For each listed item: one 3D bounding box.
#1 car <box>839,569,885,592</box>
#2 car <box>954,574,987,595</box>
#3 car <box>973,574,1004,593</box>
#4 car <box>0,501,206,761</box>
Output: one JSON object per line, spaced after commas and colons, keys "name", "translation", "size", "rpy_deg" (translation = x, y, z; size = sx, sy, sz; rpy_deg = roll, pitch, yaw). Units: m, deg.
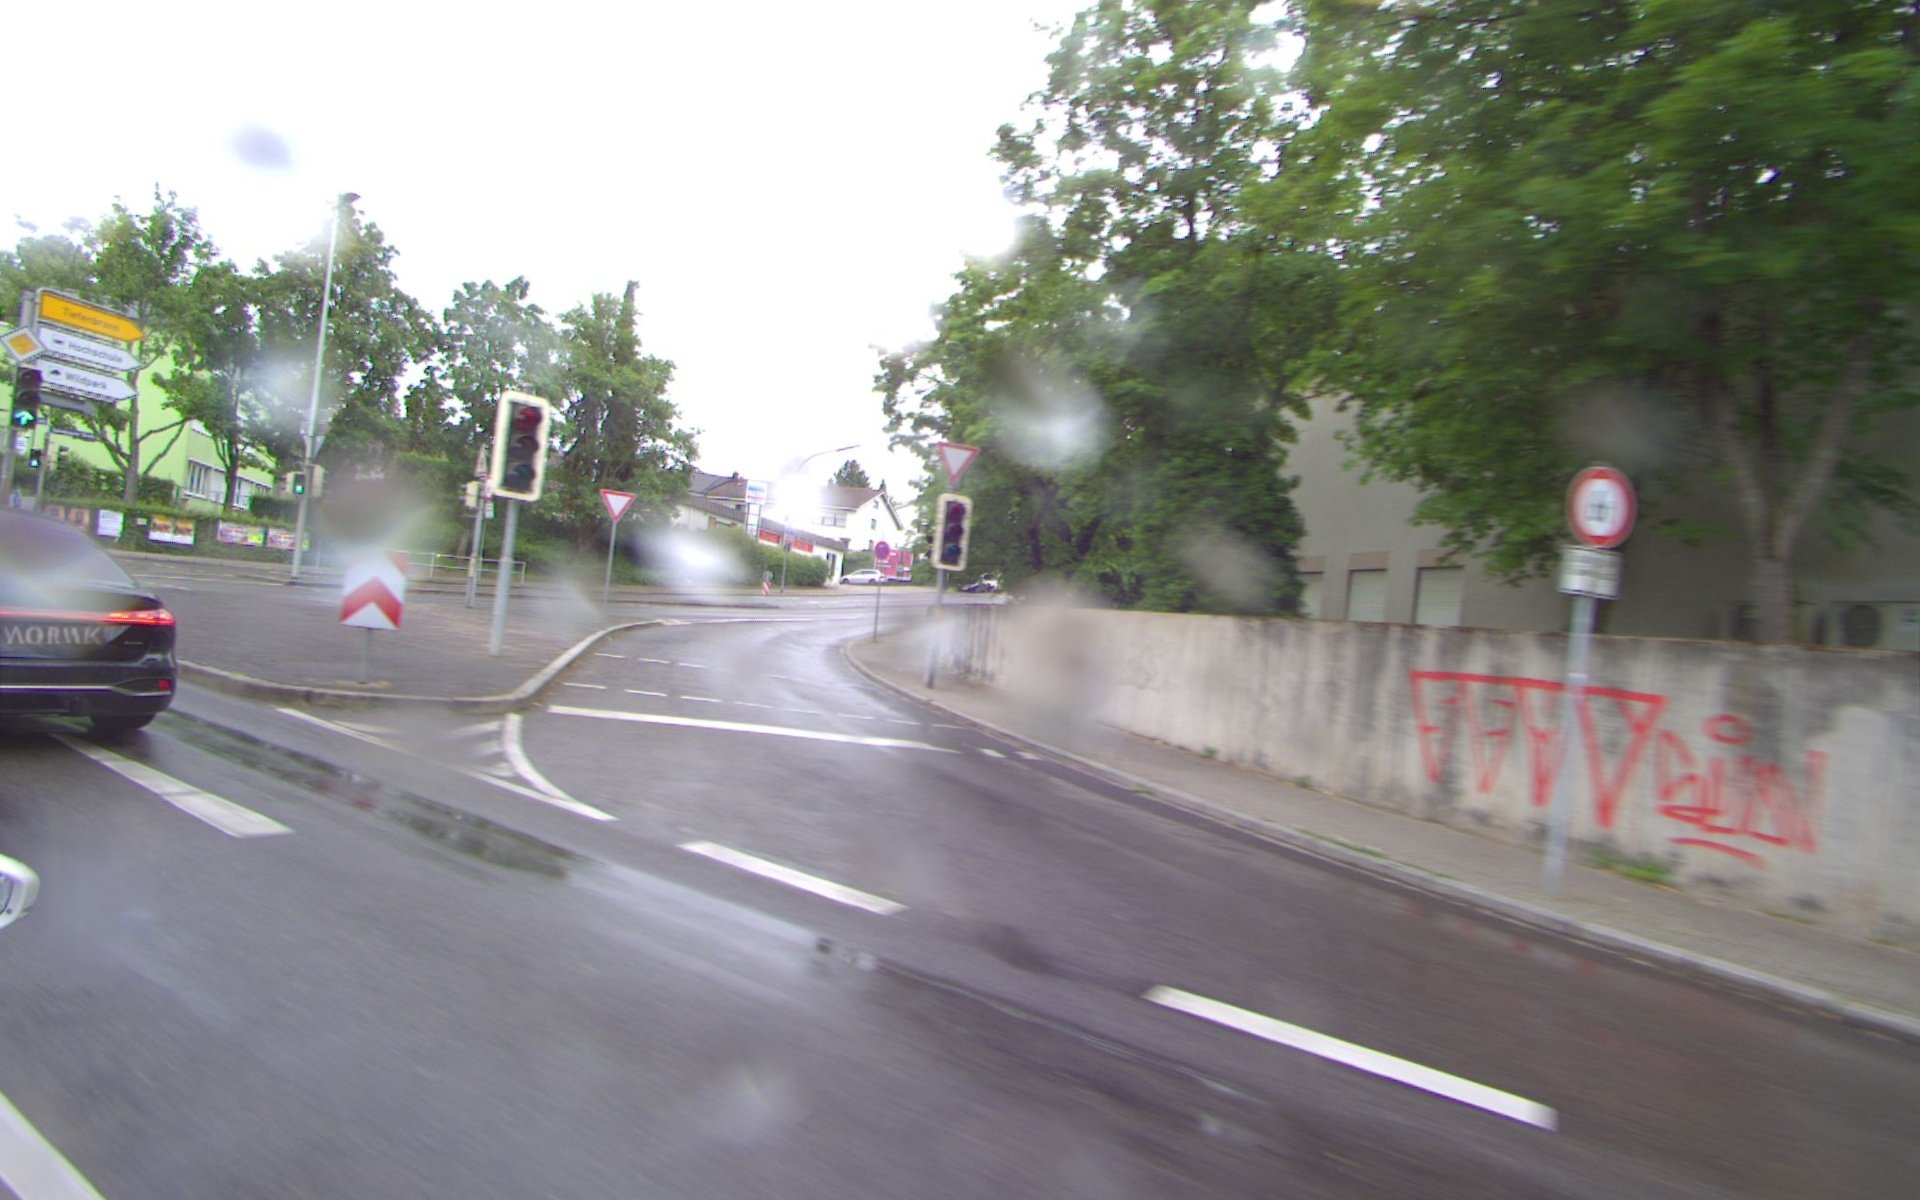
{"name": "car", "translation": [-8.774, -1.748, 90.295], "size": [3.649, 1.839, 1.841], "rpy_deg": [2, 0, 12]}
{"name": "car", "translation": [1.020, -1.490, 95.739], "size": [1.963, 1.528, 3.995], "rpy_deg": [12, 5, 16]}
{"name": "car", "translation": [2.880, -1.656, 100.823], "size": [1.963, 1.497, 3.995], "rpy_deg": [12, 5, 16]}
{"name": "car", "translation": [-7.217, -0.030, 6.820], "size": [4.432, 1.444, 1.709], "rpy_deg": [7, -1, 31]}
